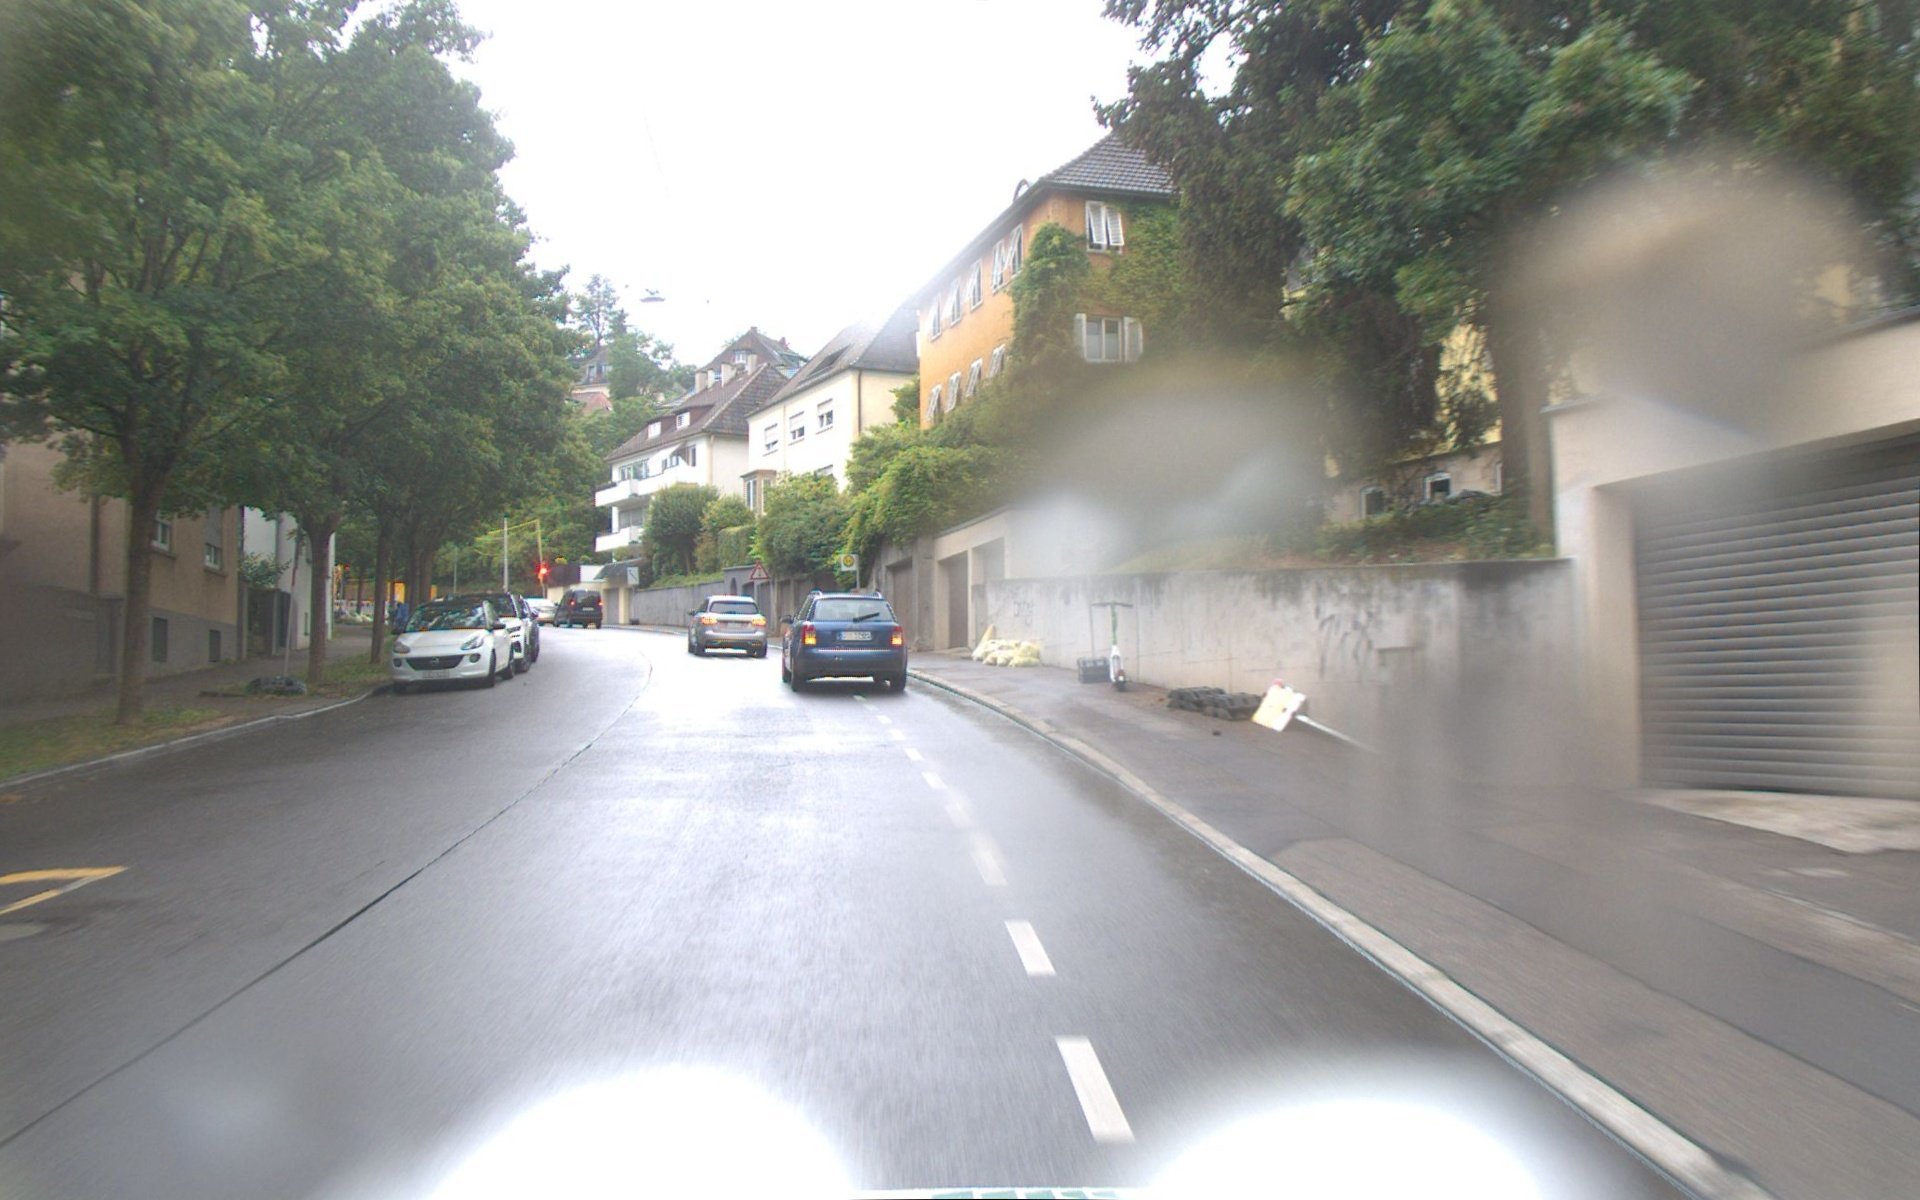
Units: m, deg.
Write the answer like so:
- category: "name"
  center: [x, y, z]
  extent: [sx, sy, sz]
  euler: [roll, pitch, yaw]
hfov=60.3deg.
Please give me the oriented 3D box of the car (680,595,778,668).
- category: "car"
  center: [-5.899, 0.749, 41.885]
  extent: [1.918, 1.588, 4.246]
  euler: [-1, 2, -15]

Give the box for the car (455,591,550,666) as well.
- category: "car"
  center: [-10.743, 0.660, 39.089]
  extent: [1.960, 1.601, 3.986]
  euler: [-2, 0, -13]

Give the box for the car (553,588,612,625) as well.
- category: "car"
  center: [-18.463, 0.320, 80.731]
  extent: [1.969, 1.713, 3.967]
  euler: [-2, 0, -25]

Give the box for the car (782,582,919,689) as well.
- category: "car"
  center: [-1.790, 0.518, 25.752]
  extent: [1.819, 1.438, 4.354]
  euler: [-2, 0, -7]

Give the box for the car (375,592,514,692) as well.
- category: "car"
  center: [-8.921, 0.686, 28.919]
  extent: [1.959, 1.557, 3.987]
  euler: [-2, 0, -13]

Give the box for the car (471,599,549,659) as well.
- category: "car"
  center: [-12.568, 0.797, 46.140]
  extent: [1.962, 1.501, 3.982]
  euler: [-2, 0, -16]

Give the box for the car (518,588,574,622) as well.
- category: "car"
  center: [-21.900, 0.280, 87.415]
  extent: [1.971, 1.713, 3.963]
  euler: [-2, 0, -28]

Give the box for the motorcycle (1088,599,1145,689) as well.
- category: "motorcycle"
  center: [2.093, 0.574, 22.213]
  extent: [0.537, 1.151, 1.439]
  euler: [-1, 0, -3]

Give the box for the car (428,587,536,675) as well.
- category: "car"
  center: [-9.675, 0.593, 33.747]
  extent: [1.846, 1.624, 3.987]
  euler: [-2, 0, -13]
